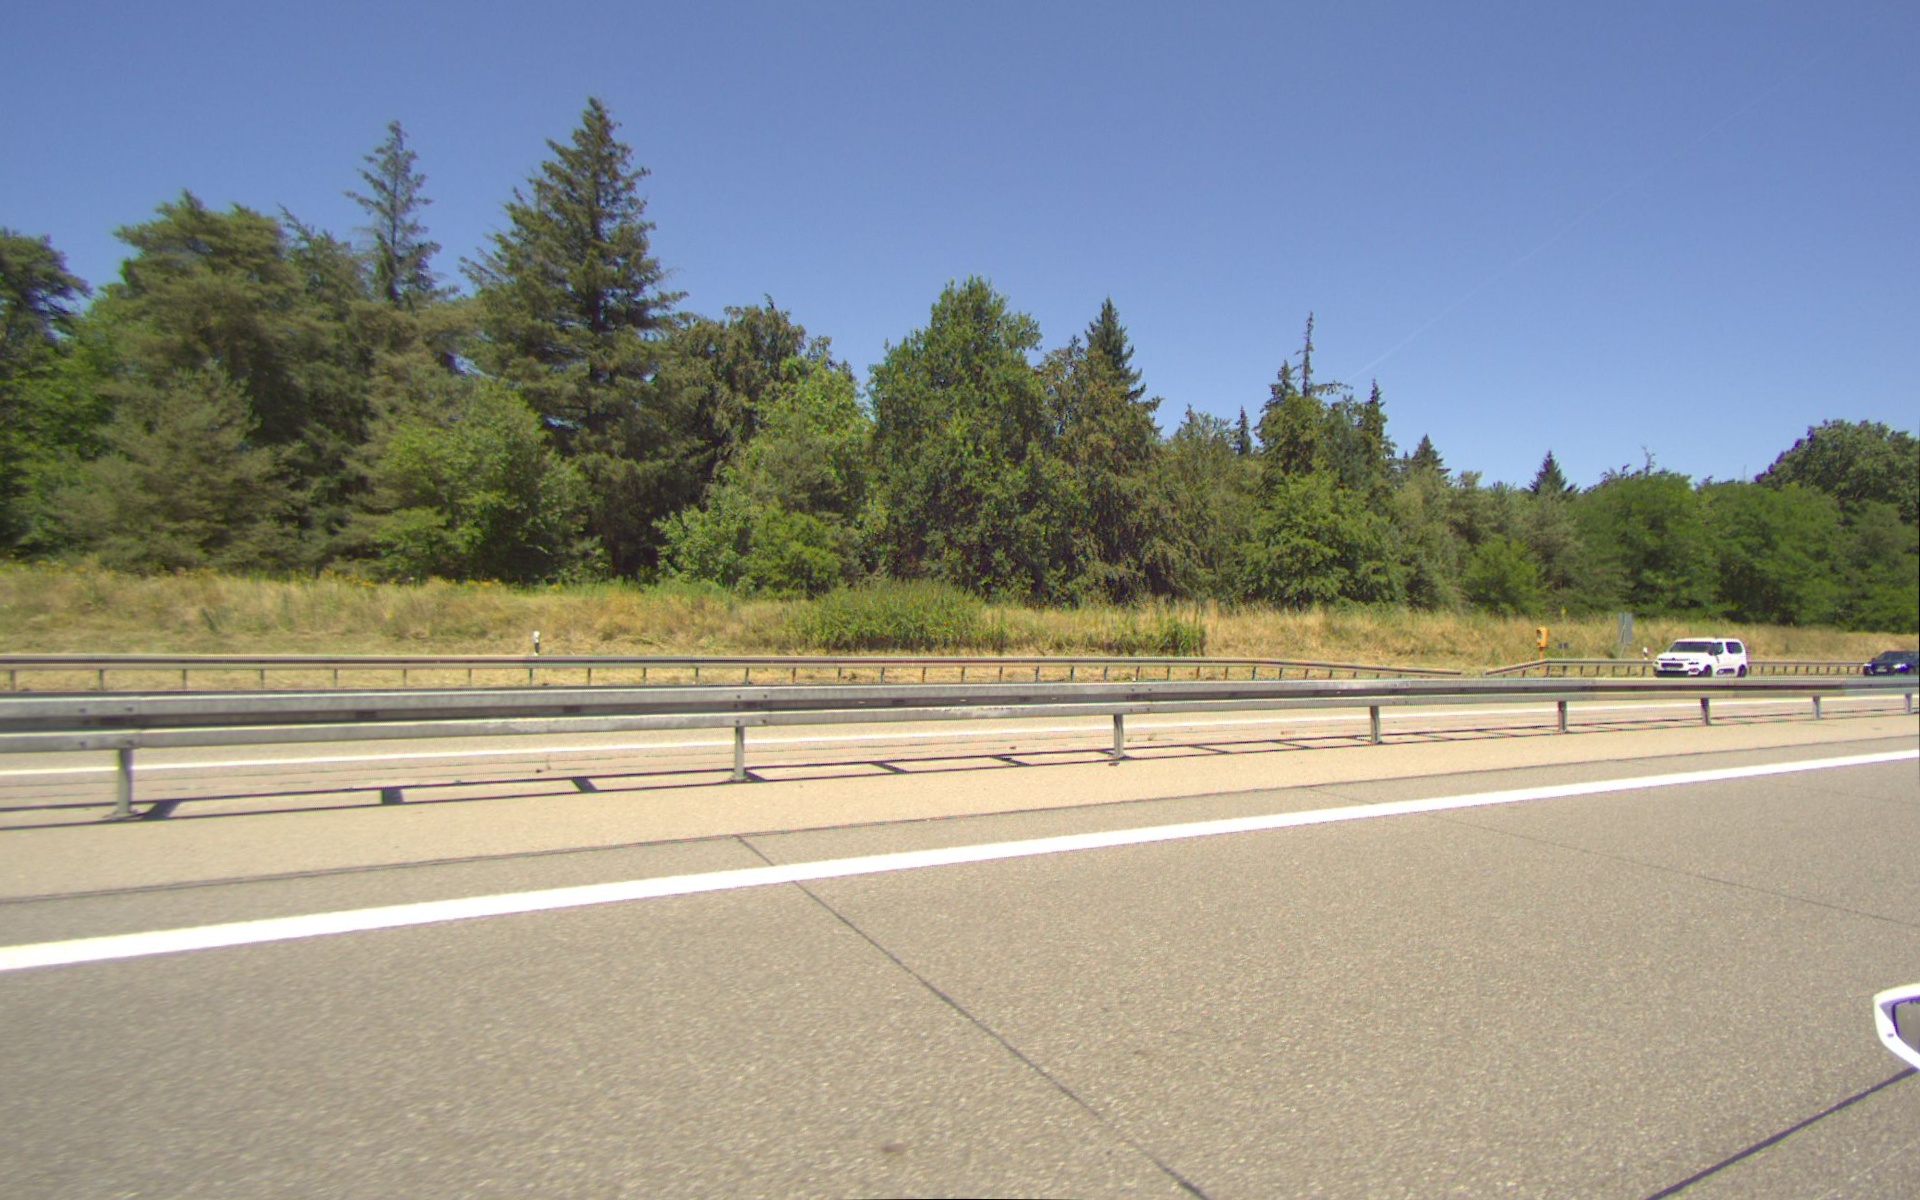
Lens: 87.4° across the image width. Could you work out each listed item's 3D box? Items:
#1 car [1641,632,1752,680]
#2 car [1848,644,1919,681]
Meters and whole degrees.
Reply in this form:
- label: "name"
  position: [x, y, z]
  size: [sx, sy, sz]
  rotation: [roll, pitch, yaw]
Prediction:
- label: "car"
  position: [30.169, 2.284, 41.130]
  size: [4.587, 1.852, 1.985]
  rotation: [2, -3, -30]
- label: "car"
  position: [46.705, 3.107, 50.182]
  size: [4.920, 1.726, 1.985]
  rotation: [2, -3, -30]
